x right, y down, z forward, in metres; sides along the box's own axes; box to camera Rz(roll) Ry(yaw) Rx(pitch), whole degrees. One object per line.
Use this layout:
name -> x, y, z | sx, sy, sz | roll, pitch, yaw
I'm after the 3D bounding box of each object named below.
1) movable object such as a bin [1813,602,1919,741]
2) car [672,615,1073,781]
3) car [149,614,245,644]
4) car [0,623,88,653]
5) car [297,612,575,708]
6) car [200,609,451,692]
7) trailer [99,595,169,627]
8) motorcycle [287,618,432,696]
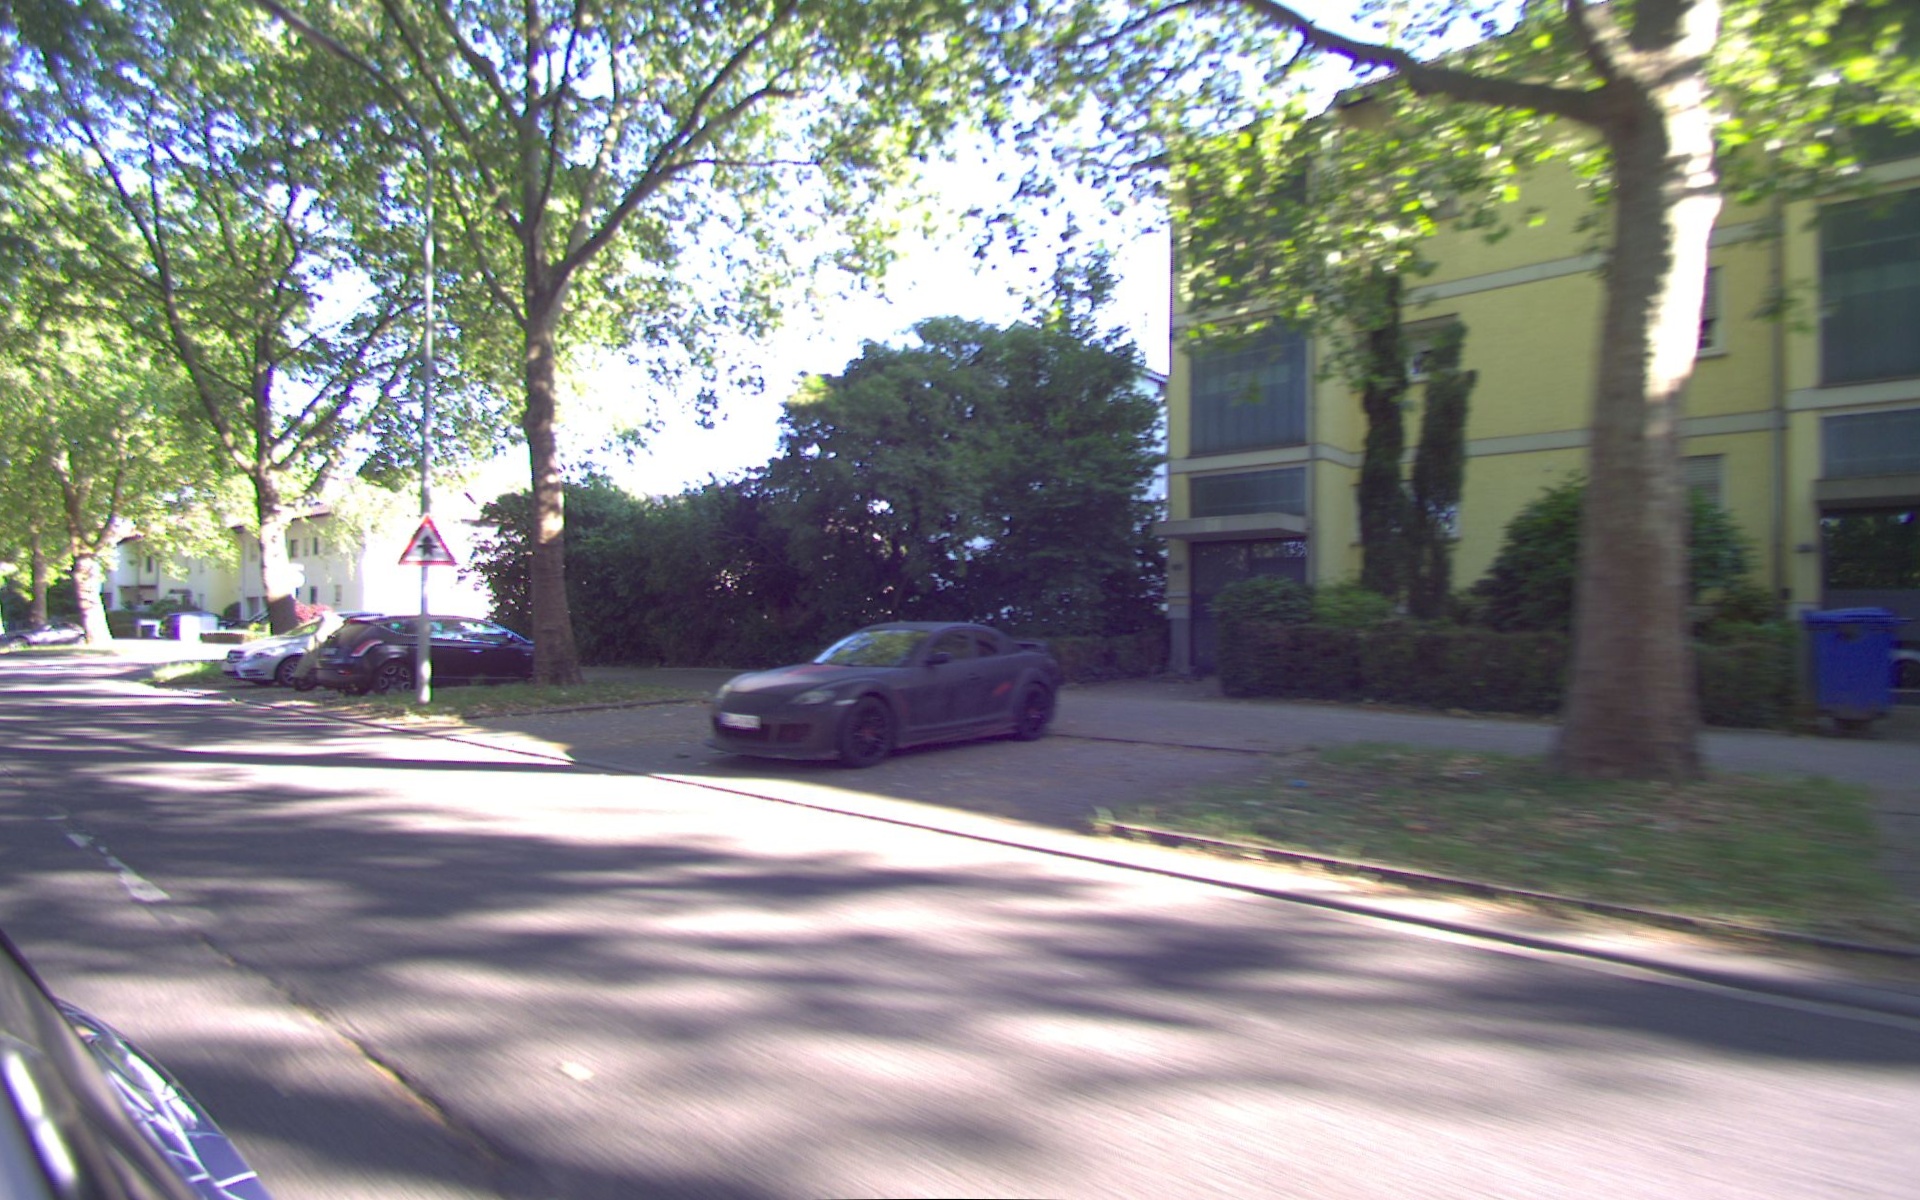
movable object such as a bin -> 9.573, 0.715, 10.606 | 0.953, 1.360, 1.173 | 0, -2, 41
car -> -0.692, 0.864, 10.512 | 1.739, 1.363, 4.199 | -1, -2, 39
car -> -42.948, 1.609, 57.016 | 1.899, 1.475, 3.948 | -2, 0, 39
car -> -41.955, 1.692, 45.556 | 1.787, 1.326, 3.789 | -1, -1, 37
car -> -9.354, 1.003, 18.359 | 1.799, 1.518, 4.122 | -1, -2, 37
car -> -13.480, 1.007, 21.715 | 1.996, 1.596, 4.146 | -1, -1, 36
trailer -> -58.097, 0.752, 71.246 | 1.640, 1.940, 3.423 | -3, 2, 36
motorcycle -> -11.538, 1.062, 19.554 | 0.647, 1.399, 2.364 | -1, -1, 35
